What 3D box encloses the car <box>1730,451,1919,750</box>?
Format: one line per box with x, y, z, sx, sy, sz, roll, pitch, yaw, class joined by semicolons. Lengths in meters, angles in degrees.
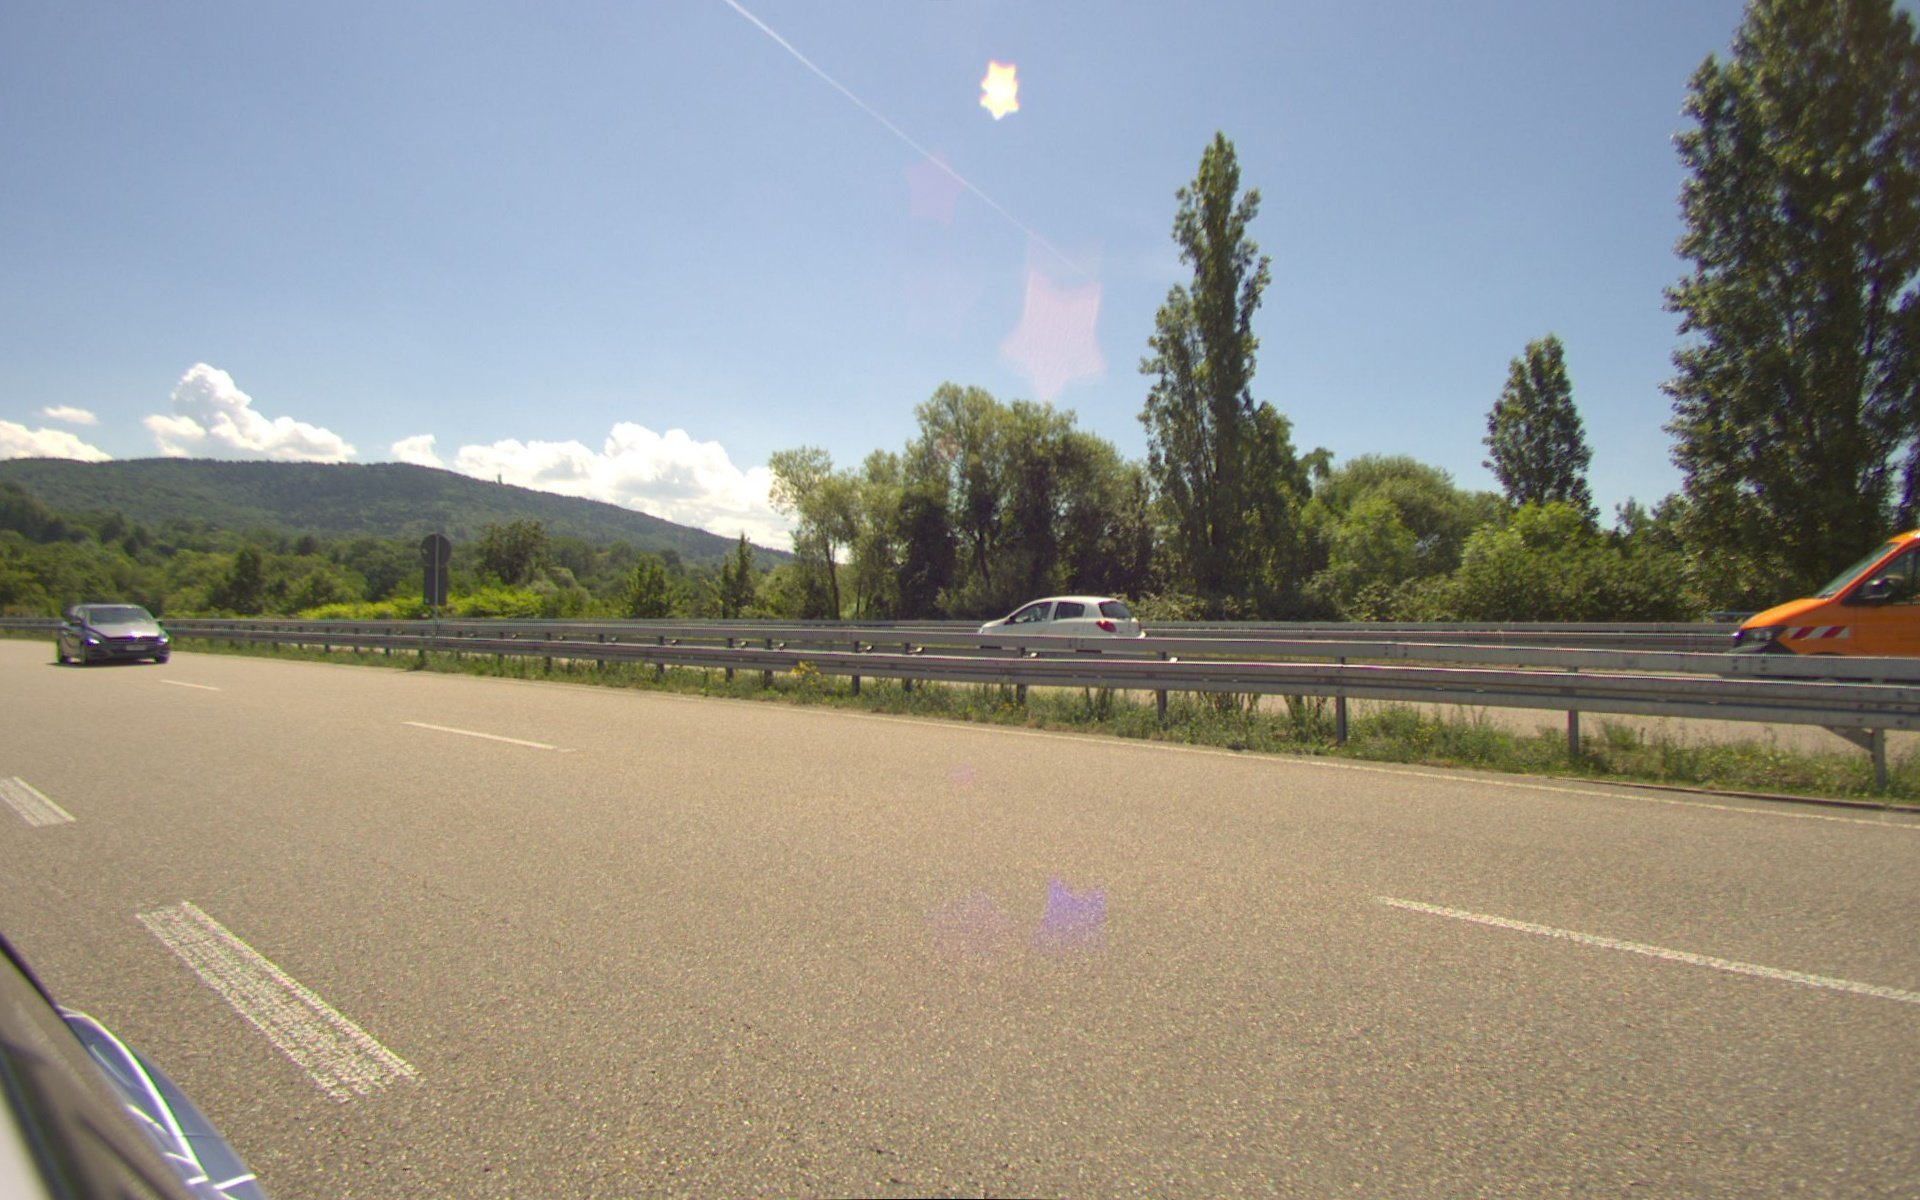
12.768;0.001;10.848;7.026;3.317;2.281;0;-1;42;car

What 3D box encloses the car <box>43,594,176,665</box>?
-22.749;0.718;27.009;4.547;1.680;1.776;1;2;38;car

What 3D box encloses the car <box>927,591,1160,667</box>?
1.687;0.574;21.614;4.790;1.443;1.834;0;-1;39;car
